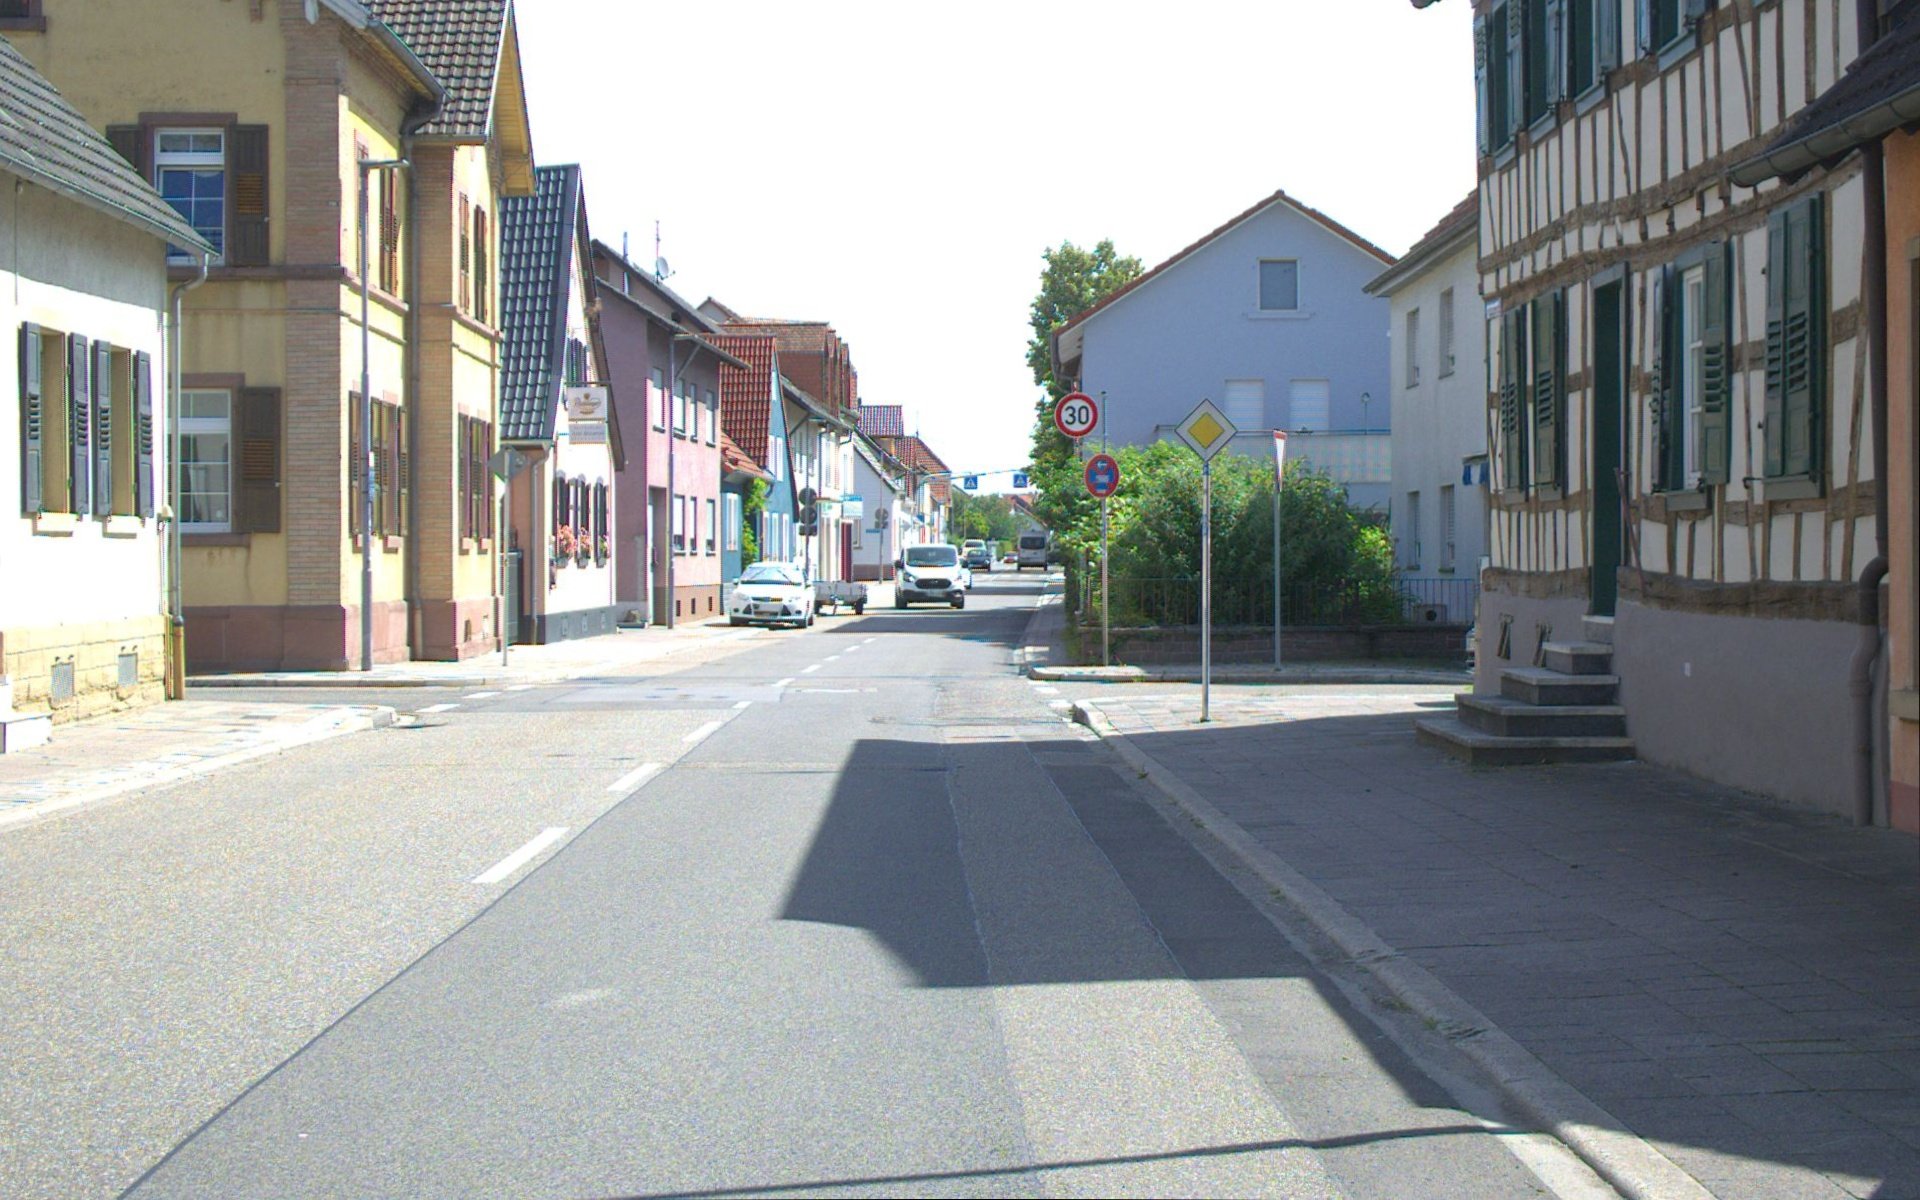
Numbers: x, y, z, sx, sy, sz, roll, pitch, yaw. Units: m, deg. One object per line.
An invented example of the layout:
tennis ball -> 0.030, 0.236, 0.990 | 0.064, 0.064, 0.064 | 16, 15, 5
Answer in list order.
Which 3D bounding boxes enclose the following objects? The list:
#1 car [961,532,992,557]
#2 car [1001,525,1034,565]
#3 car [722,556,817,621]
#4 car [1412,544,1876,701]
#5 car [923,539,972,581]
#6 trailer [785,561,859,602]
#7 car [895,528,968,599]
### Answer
car -> 1.024, -3.480, 215.809 | 1.867, 1.539, 3.838 | -1, 1, 0
car -> 3.688, -3.532, 221.496 | 2.017, 2.559, 4.000 | 0, 1, -1
car -> -4.411, -0.283, 80.123 | 1.993, 1.437, 4.000 | 0, 1, 0
car -> 6.515, 0.192, 33.043 | 3.986, 1.437, 2.000 | 0, 1, -4
car -> -0.520, -1.722, 146.646 | 1.993, 1.744, 4.000 | 1, 1, 0
trailer -> -3.837, -0.537, 96.221 | 1.993, 1.086, 4.000 | 0, 1, -1
car -> -0.898, -1.108, 105.744 | 2.158, 2.073, 4.000 | 0, -1, -1
